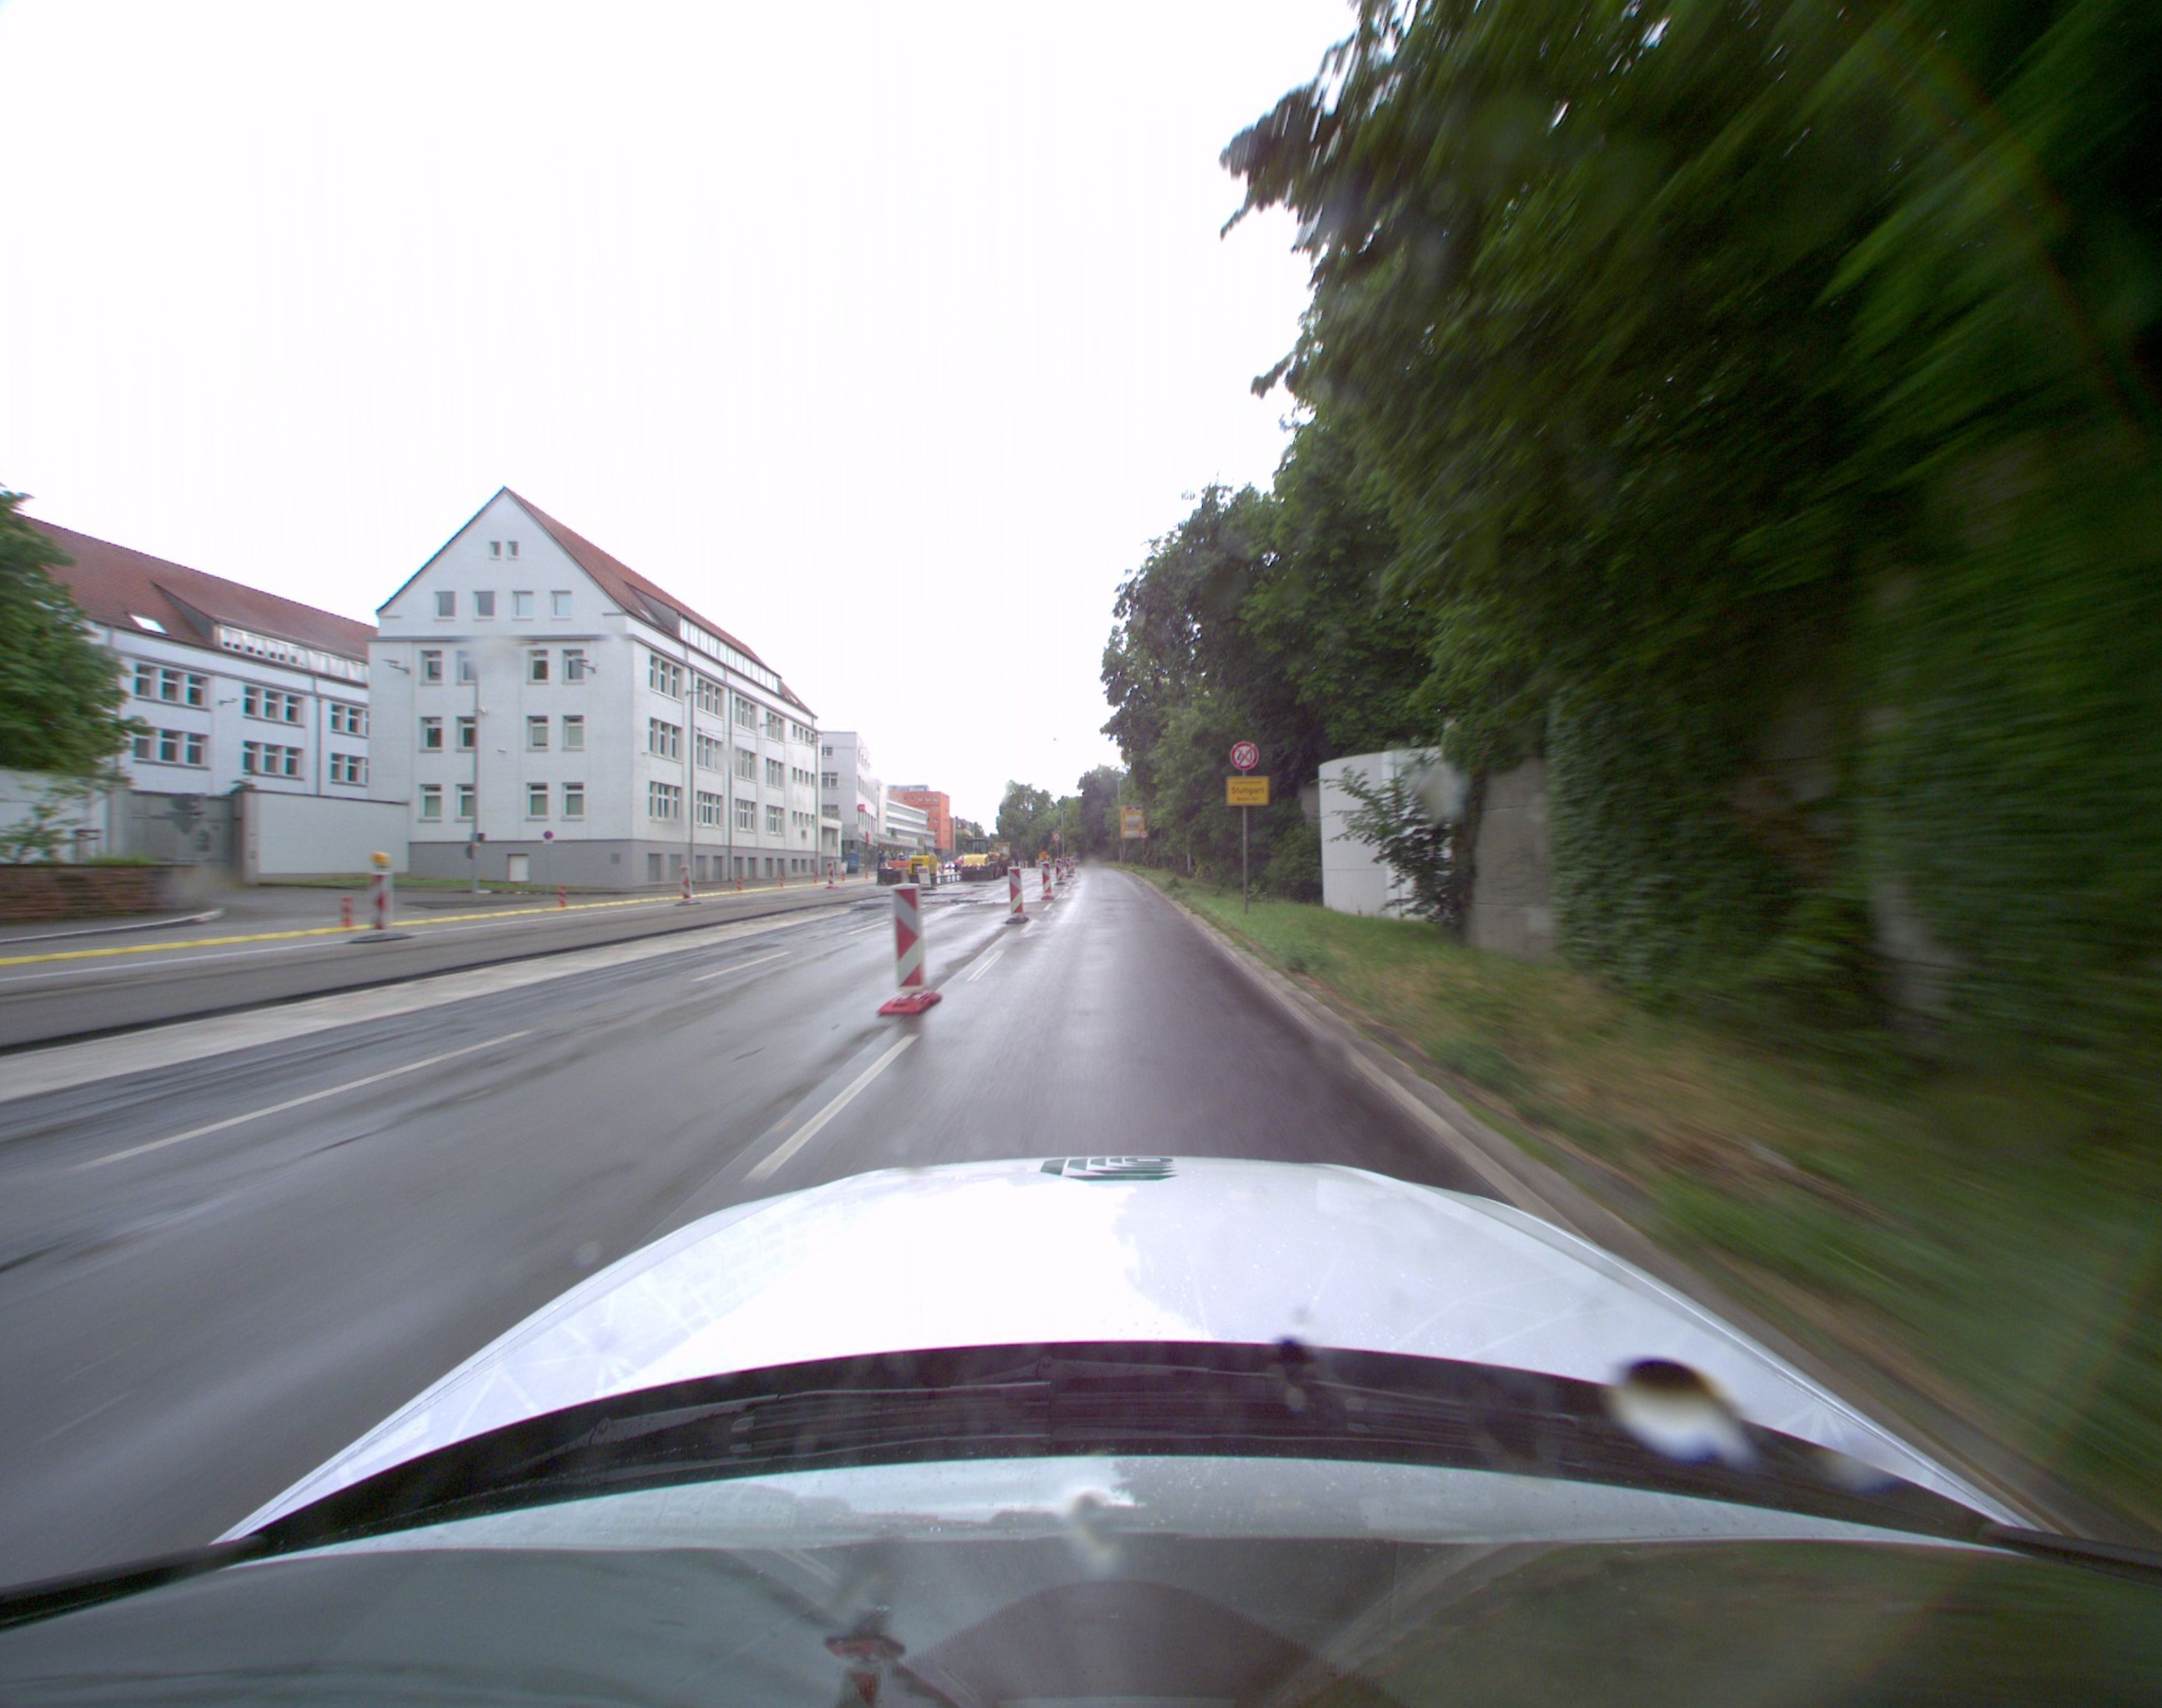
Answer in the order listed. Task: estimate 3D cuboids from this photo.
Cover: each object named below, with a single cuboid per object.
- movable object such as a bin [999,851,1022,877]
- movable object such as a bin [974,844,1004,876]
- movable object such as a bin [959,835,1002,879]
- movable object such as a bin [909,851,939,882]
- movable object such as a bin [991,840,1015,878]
[{"bbox_3d":[-6.187,0.844,71.304,1.711,2.150,3.347,-3,0,-2],"label":"movable object such as a bin"},{"bbox_3d":[-6.480,0.408,57.704,1.357,2.090,5.032,-1,0,2],"label":"movable object such as a bin"},{"bbox_3d":[-6.392,0.175,52.289,1.895,2.609,5.385,-1,0,2],"label":"movable object such as a bin"},{"bbox_3d":[-8.429,0.652,43.776,1.079,1.644,2.439,-1,0,1],"label":"movable object such as a bin"},{"bbox_3d":[-6.361,0.388,66.810,1.461,3.008,3.724,-3,0,0],"label":"movable object such as a bin"}]
